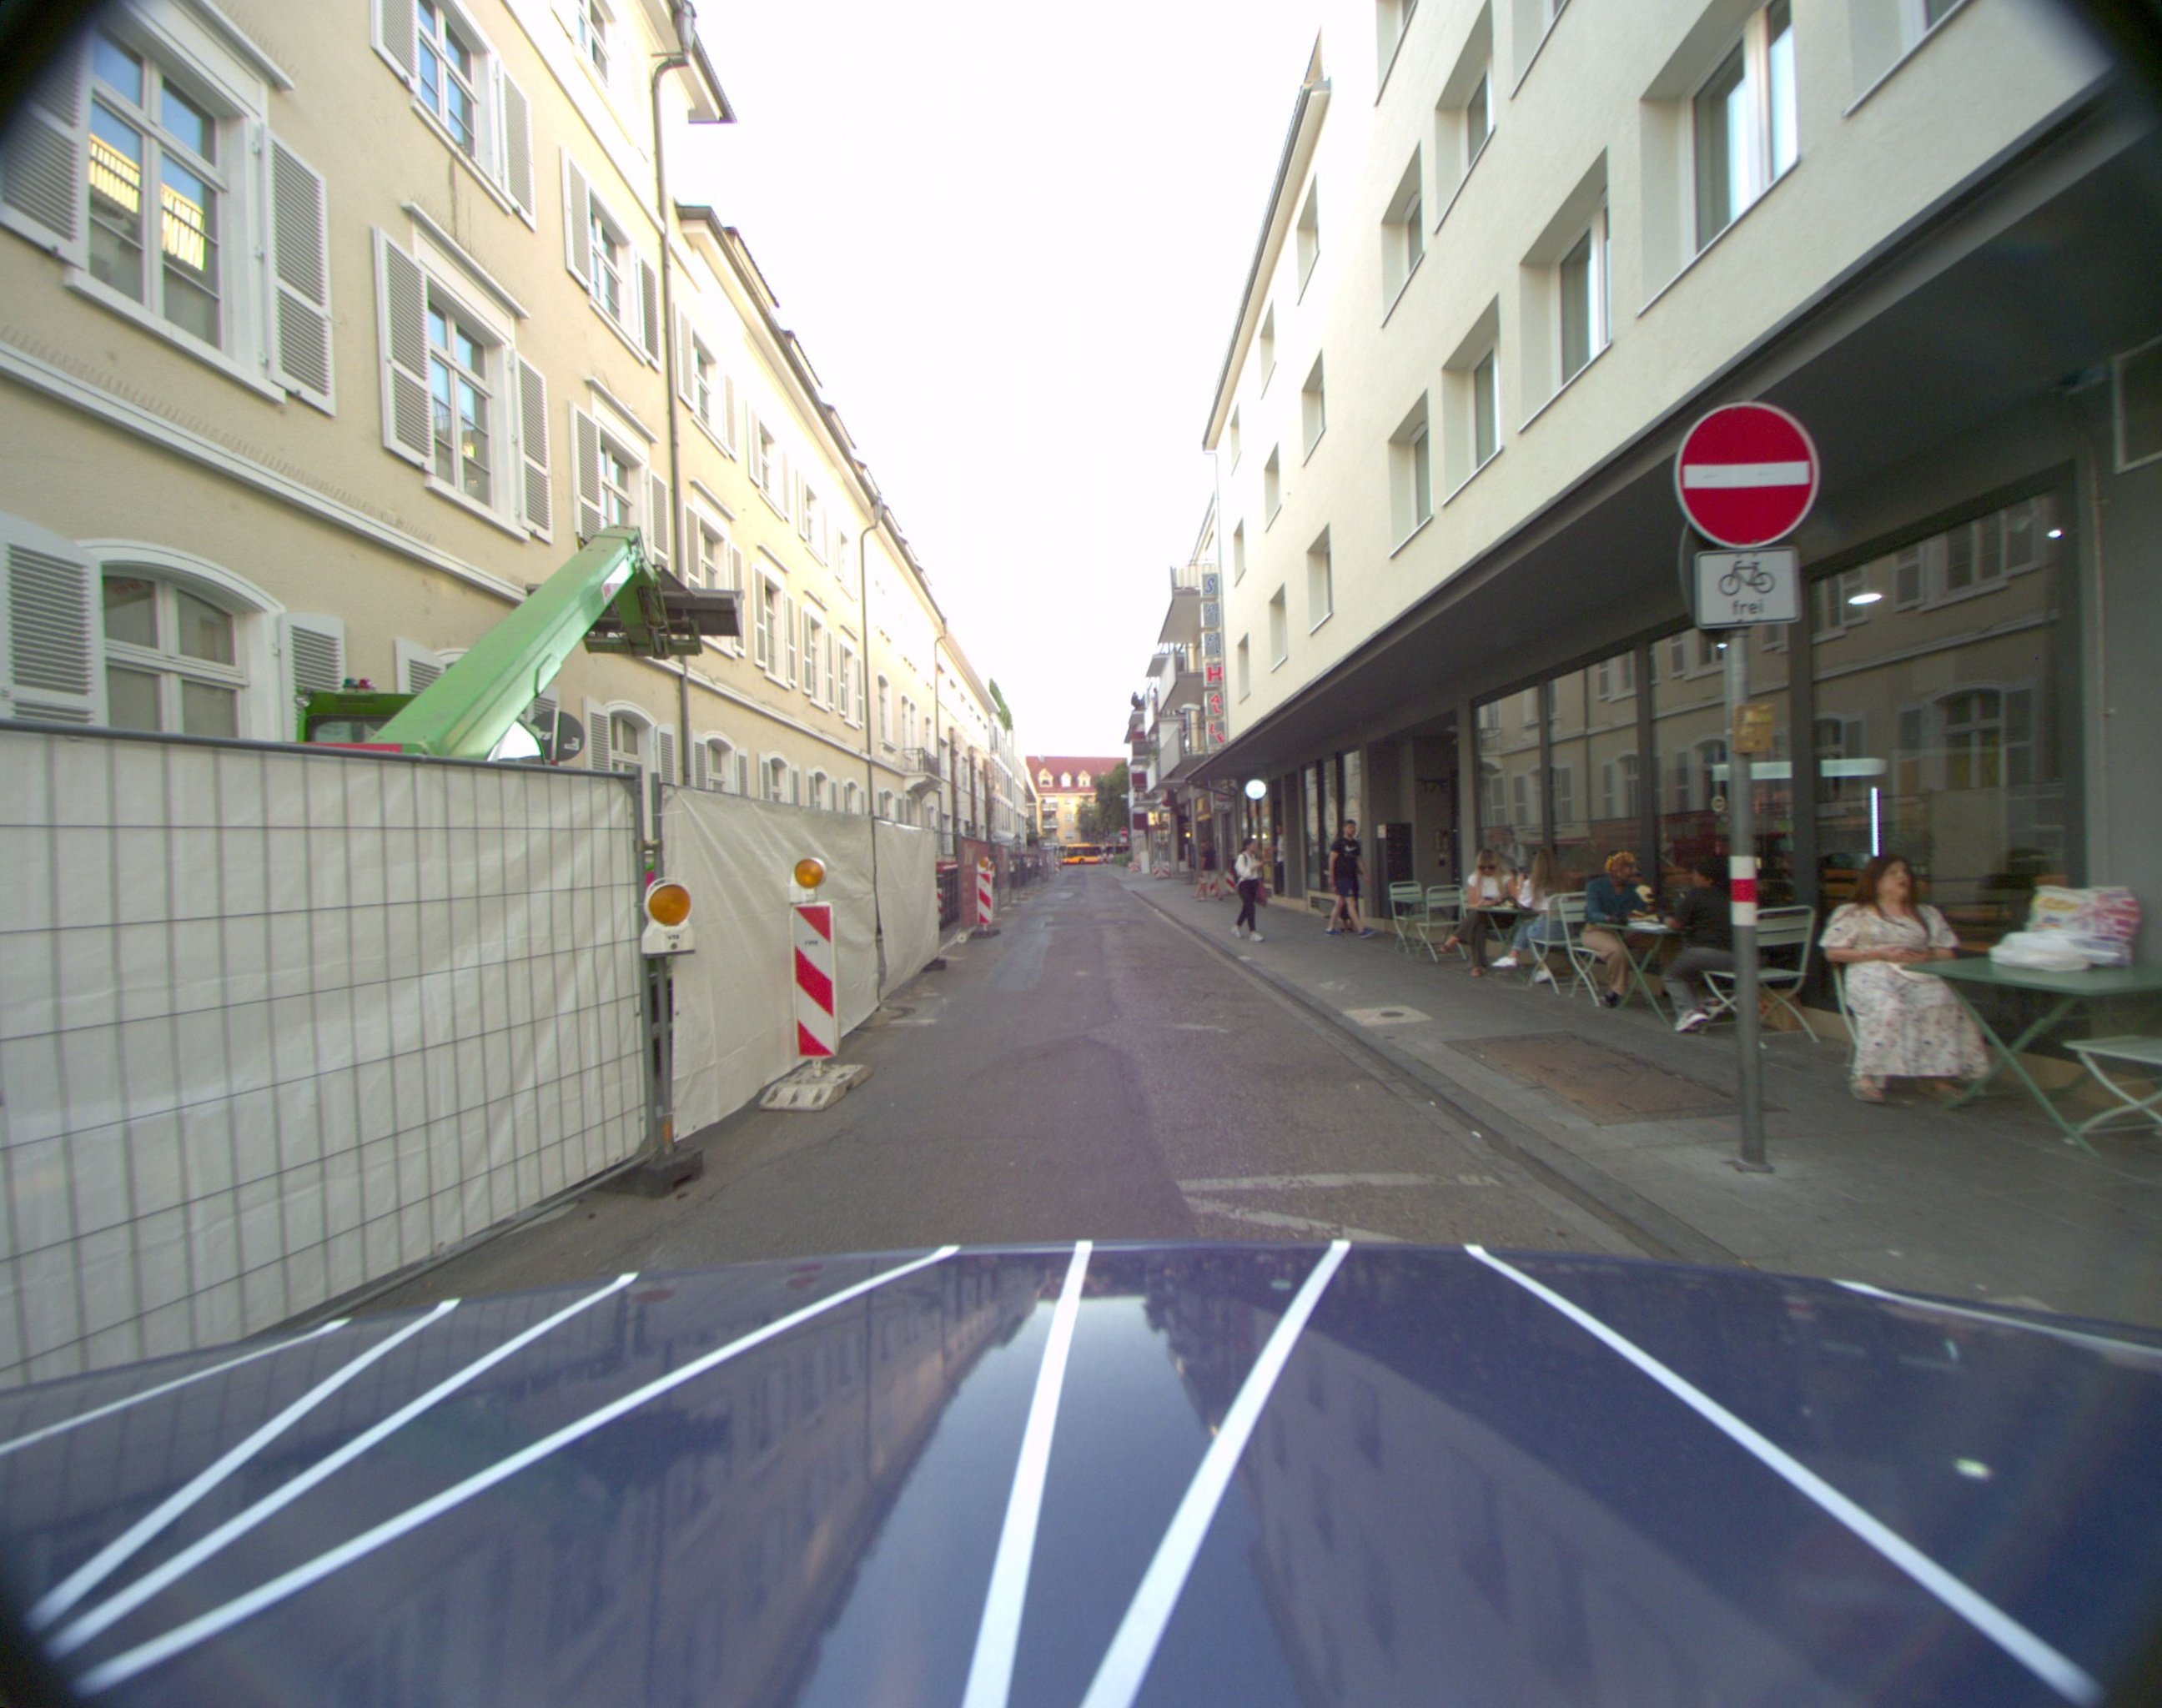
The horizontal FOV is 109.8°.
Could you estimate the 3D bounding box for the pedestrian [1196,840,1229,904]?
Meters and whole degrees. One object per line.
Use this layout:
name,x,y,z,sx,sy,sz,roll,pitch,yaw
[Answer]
pedestrian,3.812,0.512,22.083,0.706,1.771,0.932,-3,1,0

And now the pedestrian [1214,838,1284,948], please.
pedestrian,2.739,0.611,12.408,0.760,1.729,0.782,-1,0,-36

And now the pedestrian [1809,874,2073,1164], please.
pedestrian,4.238,0.737,3.828,0.704,1.212,0.843,-2,1,37

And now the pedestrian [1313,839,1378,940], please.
pedestrian,4.295,0.568,12.346,0.659,1.560,0.637,-4,1,-26

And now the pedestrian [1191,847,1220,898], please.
pedestrian,3.976,0.594,24.266,0.710,1.569,0.613,-4,1,-3

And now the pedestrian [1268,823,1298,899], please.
pedestrian,4.877,0.159,18.366,0.545,1.800,0.613,-1,1,0

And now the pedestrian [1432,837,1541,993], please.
pedestrian,4.250,0.609,8.023,0.705,1.539,0.861,-3,1,8

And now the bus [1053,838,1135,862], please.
bus,2.035,-0.655,117.089,12.554,3.306,3.915,-2,2,-33

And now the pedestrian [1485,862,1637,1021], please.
pedestrian,4.277,0.729,6.802,0.707,1.278,0.859,-3,1,-24

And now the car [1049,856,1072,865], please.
car,-3.209,1.040,120.705,1.795,1.466,3.990,-2,0,-33

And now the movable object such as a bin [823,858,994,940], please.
movable object such as a bin,-4.074,0.978,19.773,2.898,1.655,7.293,-1,0,-1

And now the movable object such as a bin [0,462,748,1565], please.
movable object such as a bin,-4.200,0.430,3.877,2.642,2.856,5.563,-1,0,-2

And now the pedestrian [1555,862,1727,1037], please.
pedestrian,4.423,0.722,6.062,0.705,1.232,0.778,-6,1,3

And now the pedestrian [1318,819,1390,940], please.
pedestrian,4.299,0.387,12.039,0.716,1.800,0.932,-3,0,1

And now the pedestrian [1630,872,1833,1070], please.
pedestrian,4.392,0.756,5.188,0.705,1.188,0.691,-5,1,3
